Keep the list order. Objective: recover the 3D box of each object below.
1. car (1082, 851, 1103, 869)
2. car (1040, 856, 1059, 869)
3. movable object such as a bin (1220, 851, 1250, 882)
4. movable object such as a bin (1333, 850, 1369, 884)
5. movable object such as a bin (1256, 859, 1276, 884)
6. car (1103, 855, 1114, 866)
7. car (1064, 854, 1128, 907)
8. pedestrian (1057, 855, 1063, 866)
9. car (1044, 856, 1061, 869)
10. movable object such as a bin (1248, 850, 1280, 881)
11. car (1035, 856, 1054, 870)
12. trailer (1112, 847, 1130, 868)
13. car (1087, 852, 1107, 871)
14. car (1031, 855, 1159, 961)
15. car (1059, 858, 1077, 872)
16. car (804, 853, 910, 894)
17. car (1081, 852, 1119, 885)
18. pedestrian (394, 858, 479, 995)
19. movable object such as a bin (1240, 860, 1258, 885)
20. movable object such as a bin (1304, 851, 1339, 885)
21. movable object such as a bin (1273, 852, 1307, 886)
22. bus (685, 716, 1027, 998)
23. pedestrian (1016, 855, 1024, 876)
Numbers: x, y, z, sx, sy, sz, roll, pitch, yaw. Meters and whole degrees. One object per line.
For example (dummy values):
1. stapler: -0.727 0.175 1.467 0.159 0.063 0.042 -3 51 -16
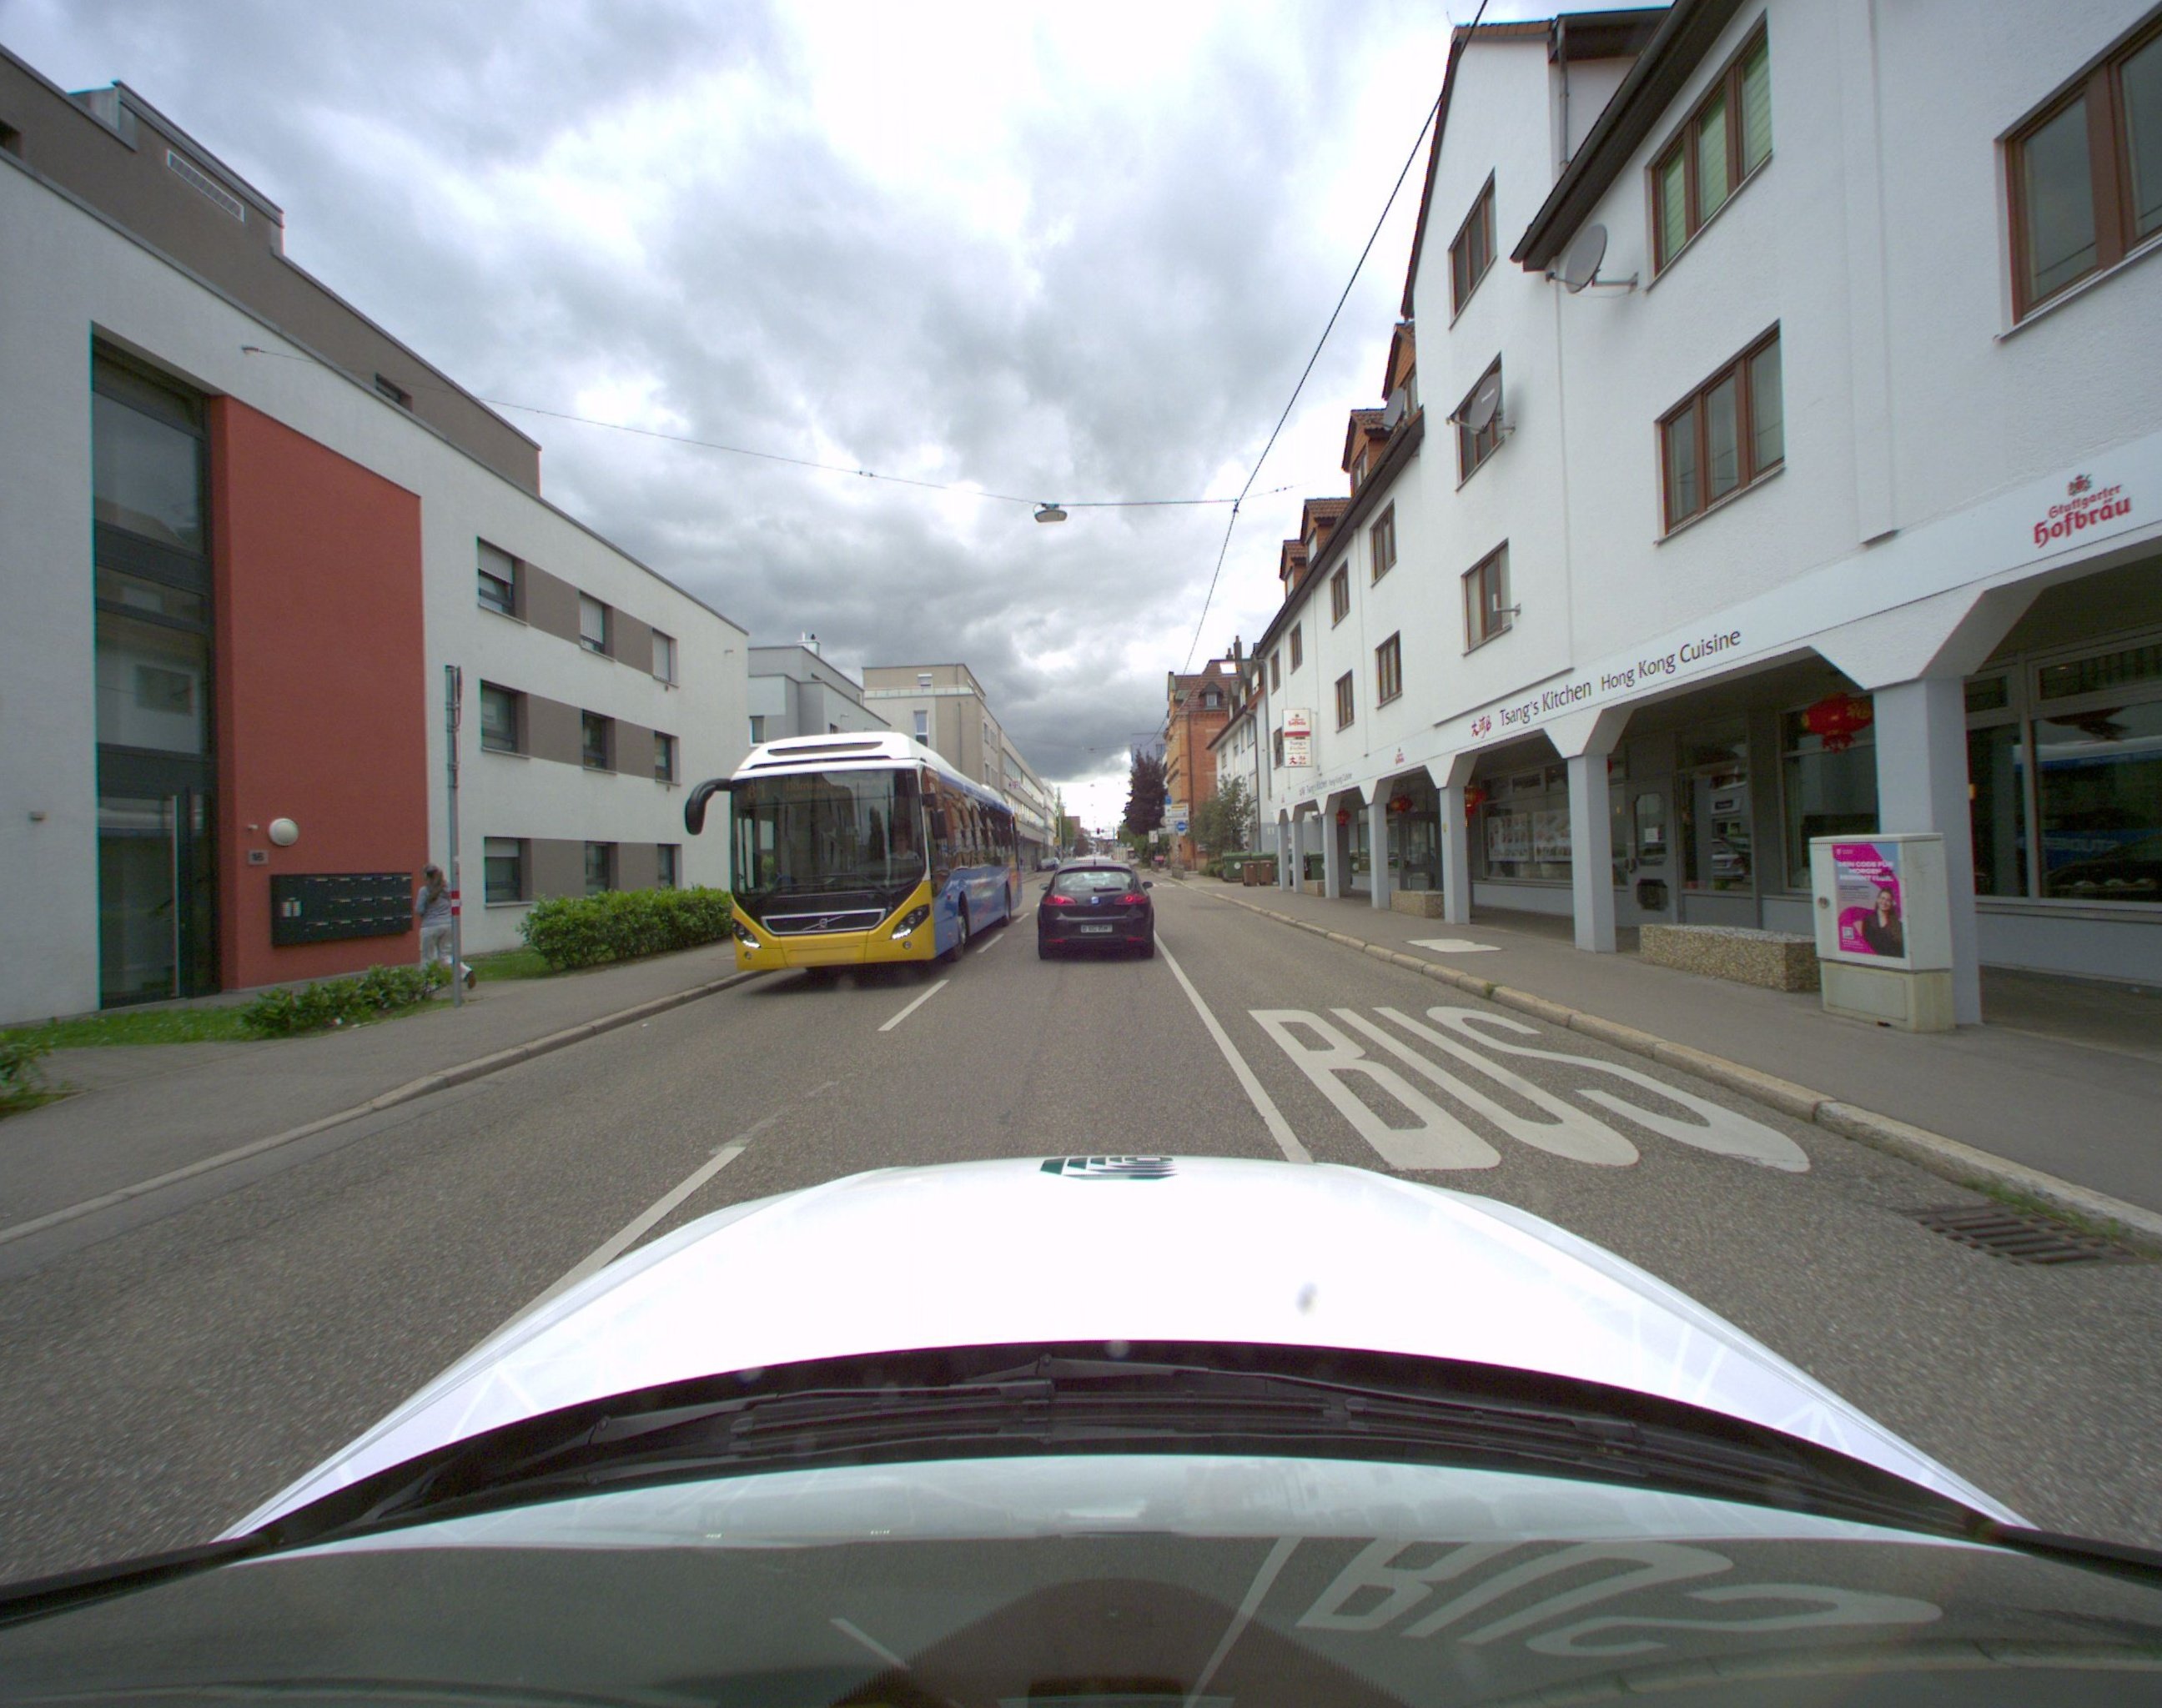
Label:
1. car: 1.026 0.509 74.255 1.797 1.553 3.738 -2 0 1
2. car: -3.790 1.046 98.043 1.987 1.517 4.175 -2 0 1
3. movable object such as a bin: 7.463 0.598 39.485 1.262 1.417 1.162 -2 0 1
4. movable object such as a bin: 11.598 0.562 35.063 1.204 1.417 1.261 -2 0 5
5. movable object such as a bin: 8.056 0.749 35.524 0.695 1.079 0.973 -2 0 5
6. car: 4.327 0.991 128.611 1.797 1.601 3.738 -1 0 1
7. car: 0.465 0.772 25.471 1.797 1.492 3.738 -2 0 1
8. pedestrian: -3.686 1.117 141.639 0.915 1.869 0.783 -1 -1 0
9. car: -3.609 1.034 103.718 1.987 1.517 4.175 -2 0 1
10. movable object such as a bin: 8.803 0.542 39.165 1.262 1.435 1.308 -2 0 2
11. car: -4.110 0.993 92.255 1.906 1.517 4.175 -3 0 1
12. trailer: 5.097 0.474 103.679 1.987 2.607 5.349 -2 0 1
13. car: 1.451 0.670 74.331 1.797 1.601 3.738 -1 0 1
14. car: 0.254 0.763 13.351 1.759 1.433 3.829 -1 0 1
15. car: -1.507 1.325 95.801 1.872 1.451 4.215 -4 0 1
16. car: -9.979 0.875 36.398 4.144 1.667 1.727 -2 -1 4
17. car: 0.930 0.696 41.181 1.797 1.553 3.738 -2 0 1
18. pedestrian: -8.052 0.877 10.186 0.514 1.642 0.644 -2 -1 26
19. movable object such as a bin: 7.331 0.812 35.562 0.680 1.067 0.973 -2 0 5
20. movable object such as a bin: 10.347 0.591 35.120 1.204 1.417 1.261 -2 0 5
21. movable object such as a bin: 8.990 0.627 35.159 1.204 1.417 1.261 -2 0 5
22. bus: -3.137 0.034 15.904 2.932 3.274 12.010 -3 0 1
23. pedestrian: -5.340 1.004 71.278 0.641 1.769 0.809 -2 0 -2
